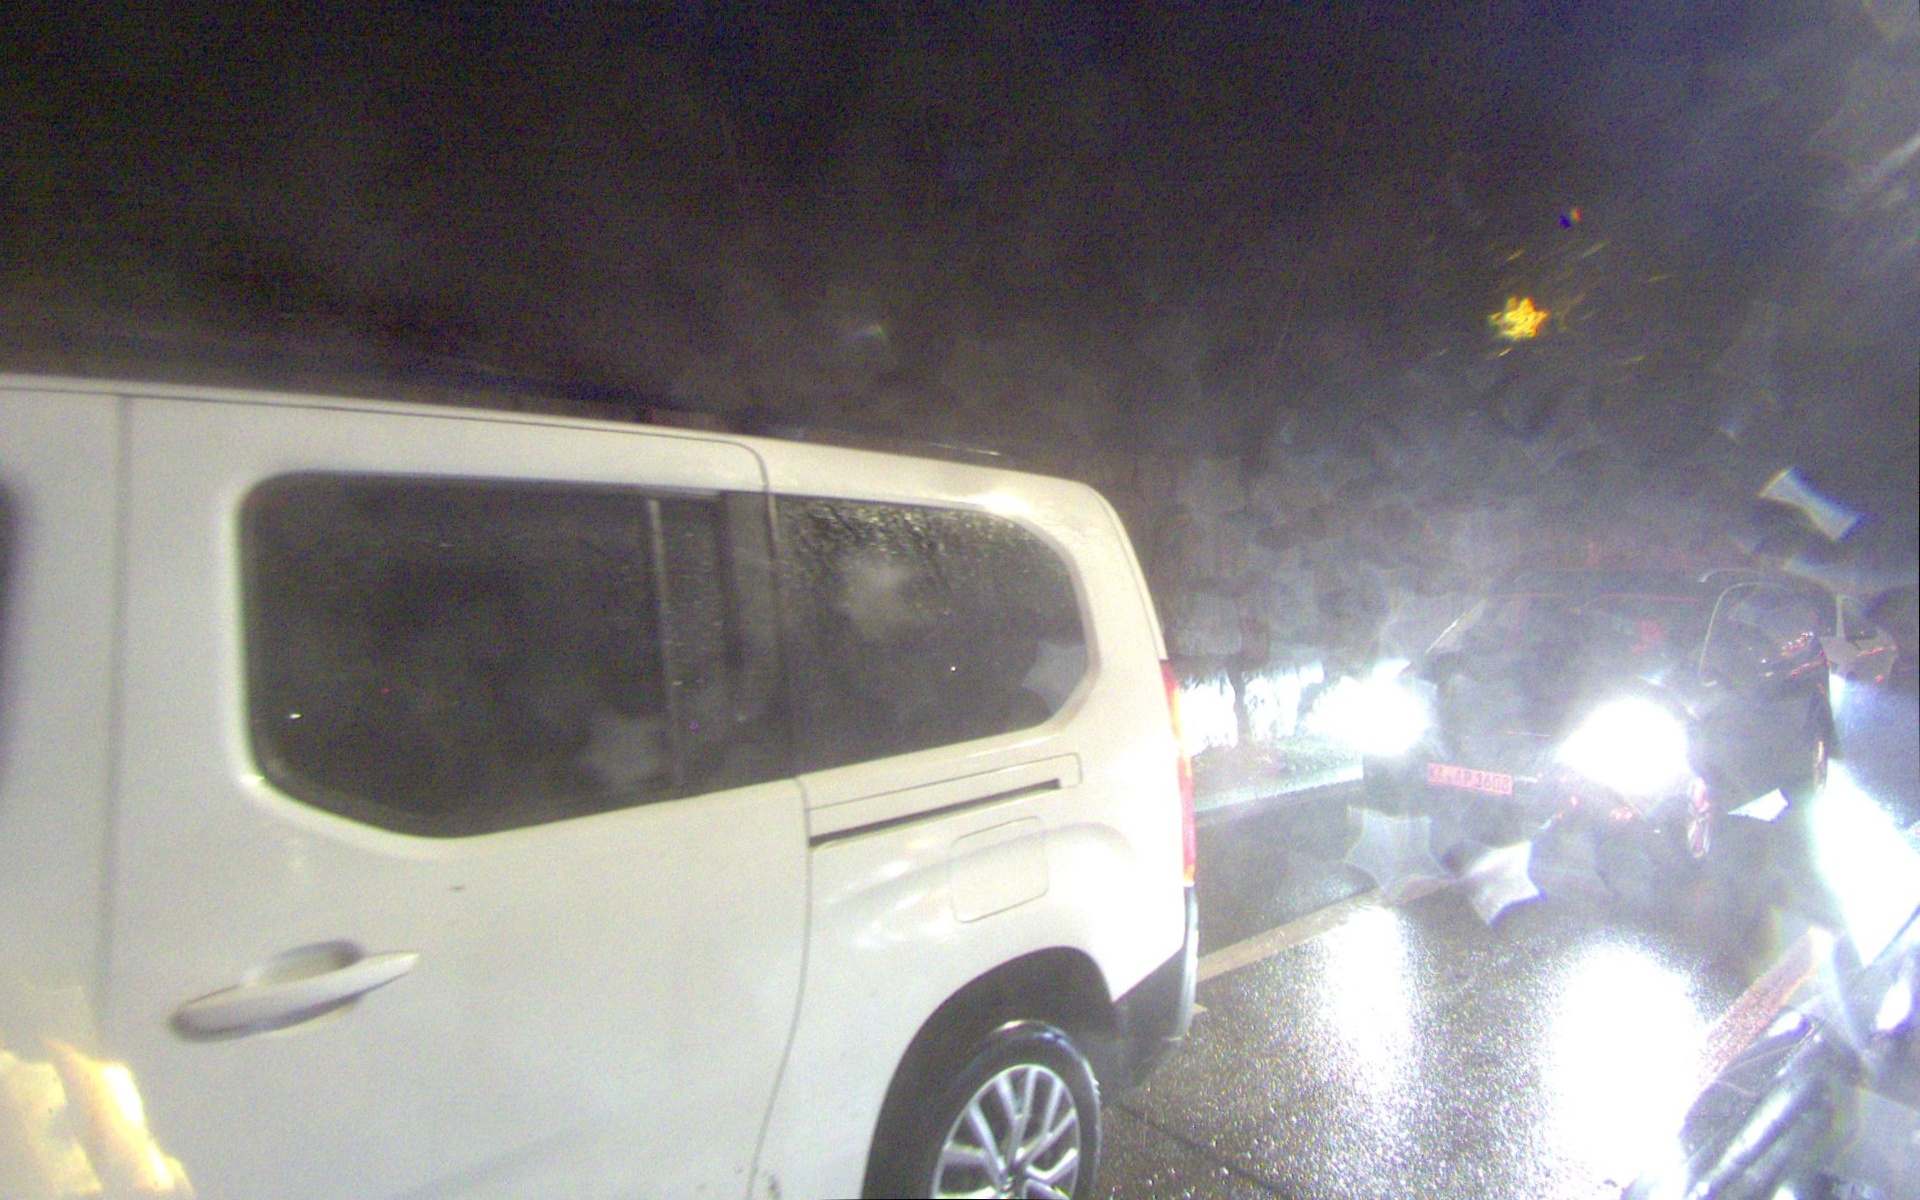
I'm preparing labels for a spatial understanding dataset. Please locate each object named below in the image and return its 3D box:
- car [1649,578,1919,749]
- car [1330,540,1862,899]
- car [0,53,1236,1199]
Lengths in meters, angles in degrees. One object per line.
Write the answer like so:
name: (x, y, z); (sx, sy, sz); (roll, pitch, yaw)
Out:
car: (9.874, 0.608, 11.959); (4.358, 1.669, 1.787); (0, 0, -41)
car: (4.456, 0.557, 6.842); (4.142, 1.715, 1.790); (0, 0, -39)
car: (-1.547, 0.468, 1.691); (4.502, 2.047, 1.793); (0, 1, -43)
